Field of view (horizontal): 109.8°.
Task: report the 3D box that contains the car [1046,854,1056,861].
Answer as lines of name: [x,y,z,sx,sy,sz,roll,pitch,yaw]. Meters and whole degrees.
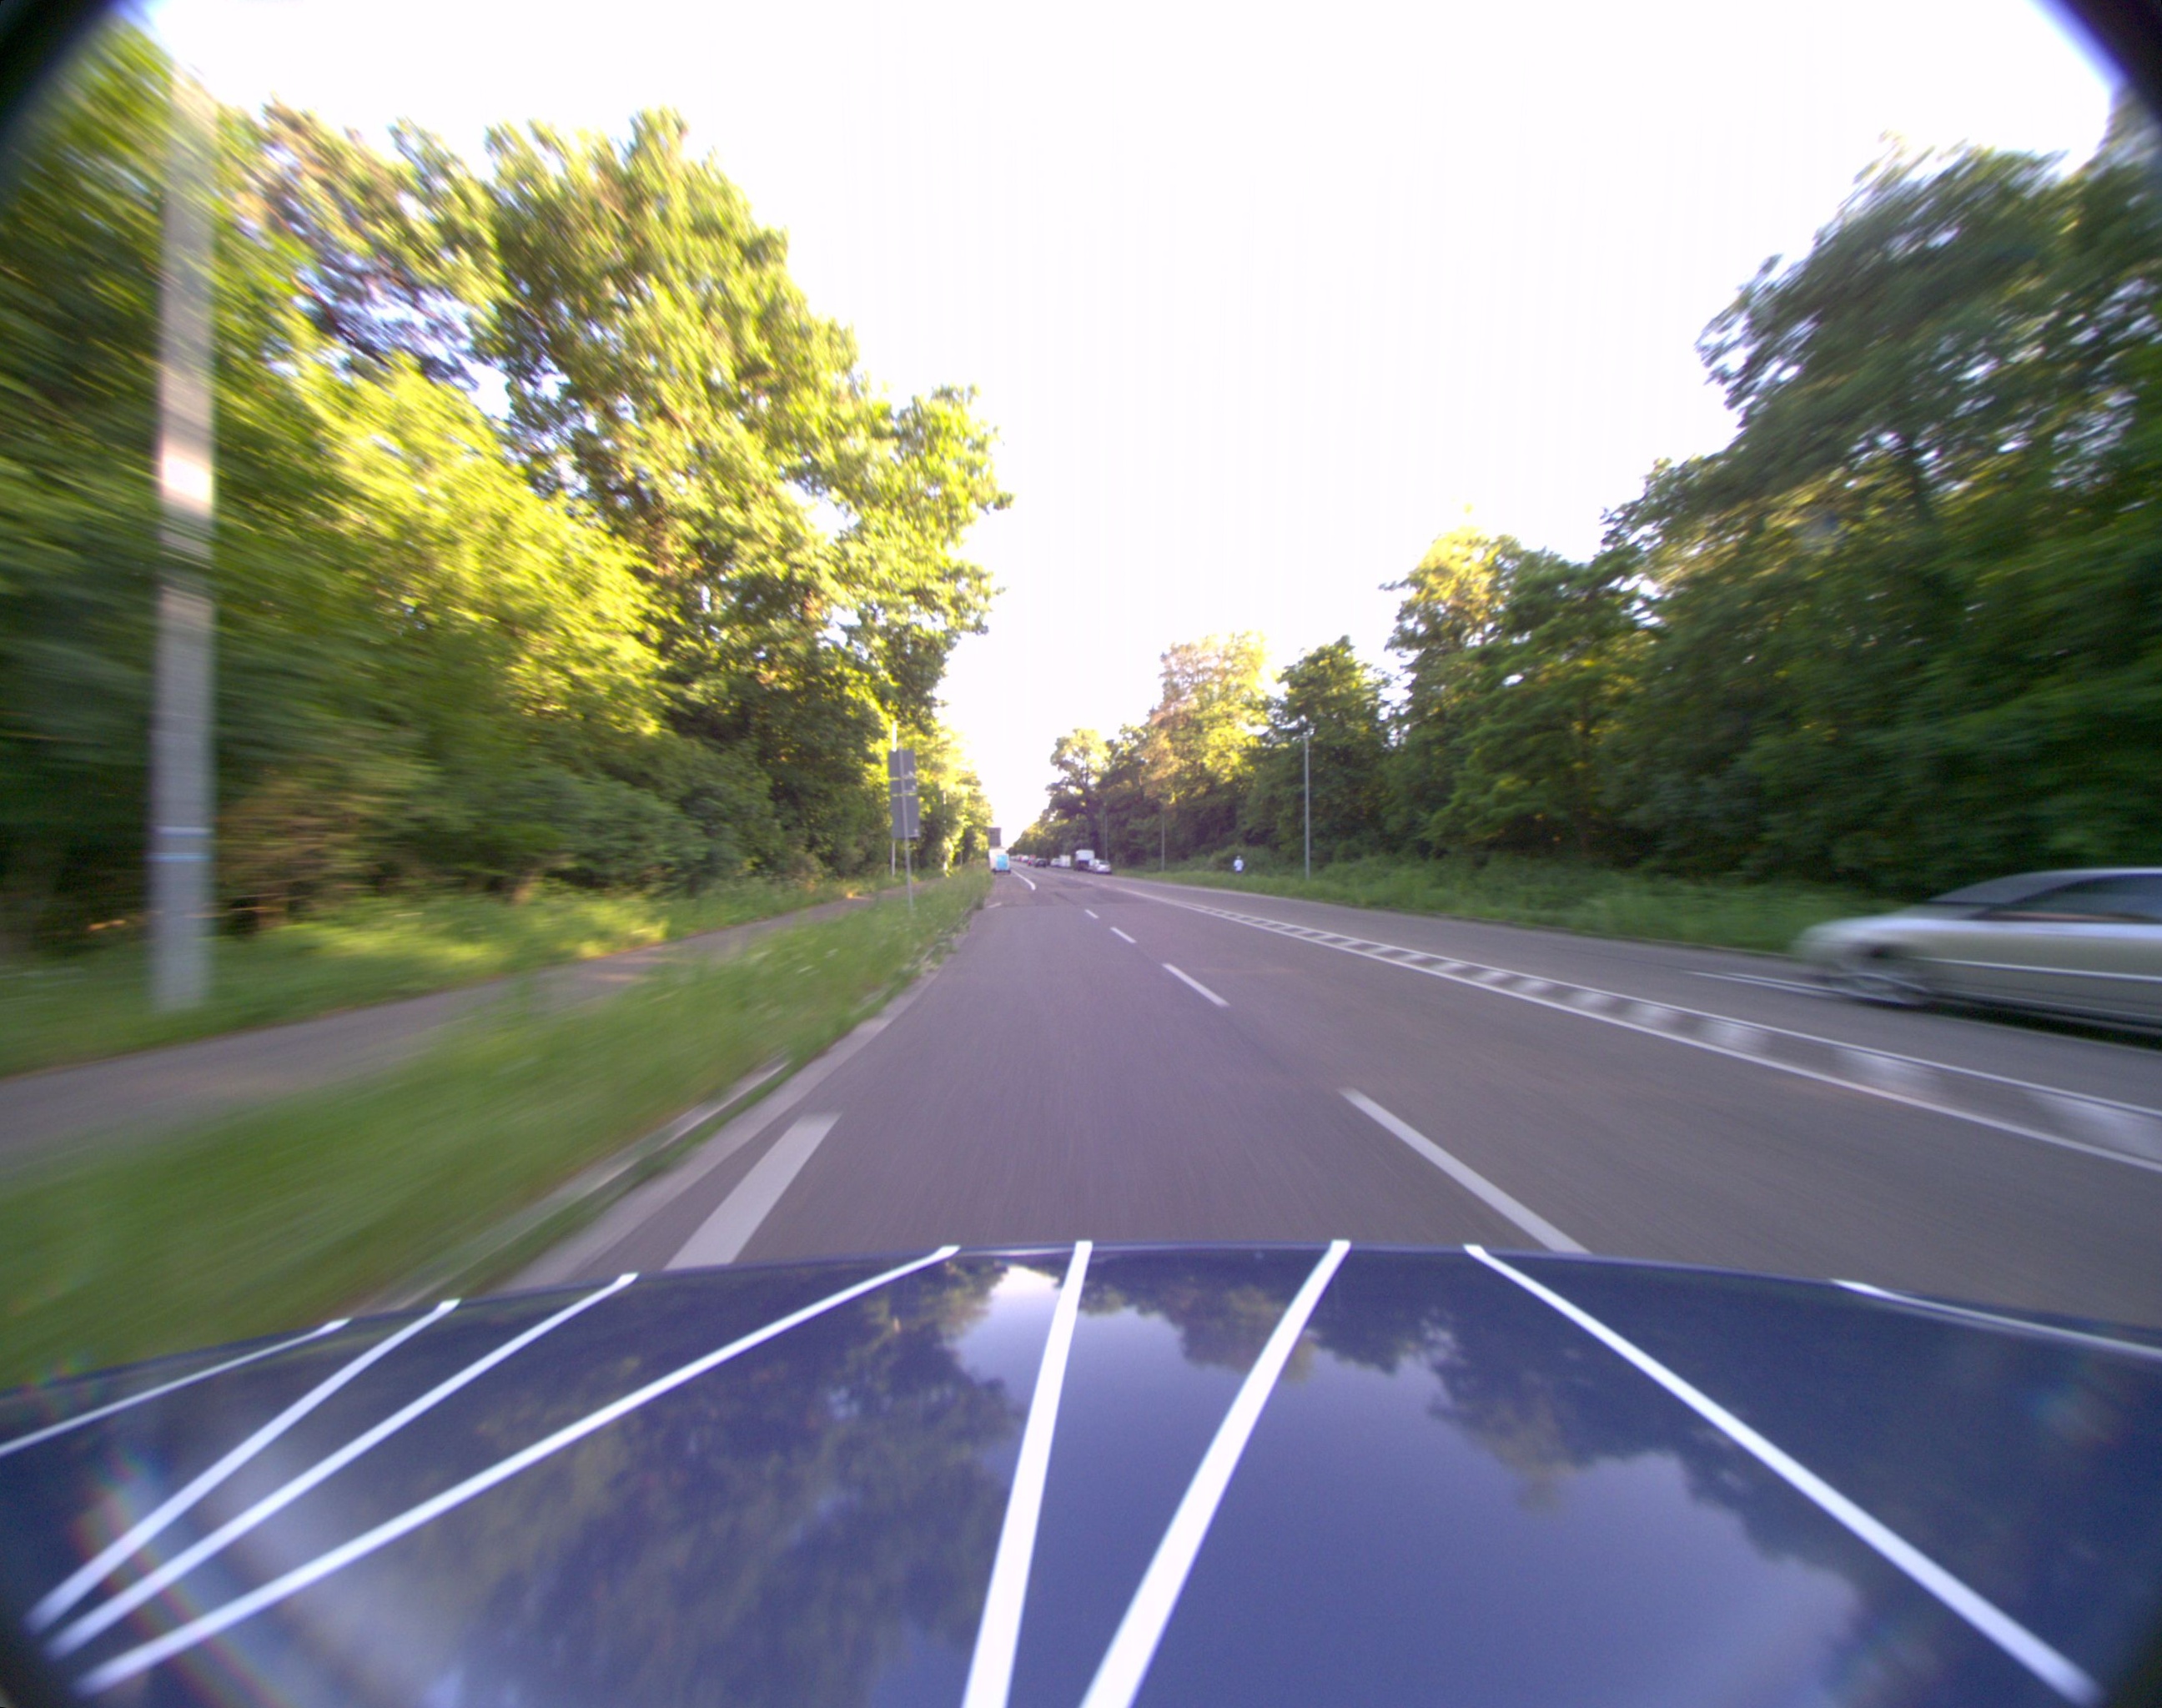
car: [-6.298,0.749,159.796,1.807,1.496,3.910,1,1,-7]

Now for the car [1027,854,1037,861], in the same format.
car: [-9.950,0.700,153.845,1.807,1.455,3.910,1,1,-7]

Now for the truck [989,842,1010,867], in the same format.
truck: [-11.260,0.053,104.808,2.707,3.218,7.123,1,1,-7]

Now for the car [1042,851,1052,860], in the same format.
car: [-7.604,0.396,170.924,2.000,2.002,3.997,-1,0,-7]

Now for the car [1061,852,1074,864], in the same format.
car: [-2.369,0.687,131.659,1.692,2.089,4.629,1,1,-7]

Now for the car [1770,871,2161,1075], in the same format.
car: [8.842,0.946,6.284,1.834,1.446,4.477,2,0,-8]

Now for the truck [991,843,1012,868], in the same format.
truck: [-9.919,0.141,94.664,2.391,2.855,5.594,-3,1,-7]

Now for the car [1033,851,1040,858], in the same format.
car: [-13.899,0.088,237.742,2.000,2.002,3.997,-1,0,-9]

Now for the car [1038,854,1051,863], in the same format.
car: [-6.121,0.707,127.143,1.915,1.455,4.354,1,1,-7]

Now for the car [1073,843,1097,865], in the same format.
car: [0.480,-0.008,99.978,2.462,2.830,4.795,1,1,-7]

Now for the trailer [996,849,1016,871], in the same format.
trailer: [-7.864,0.577,79.254,1.870,2.165,4.126,-2,1,-7]

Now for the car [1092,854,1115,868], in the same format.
car: [2.455,0.743,82.868,1.915,1.455,4.009,1,1,-7]

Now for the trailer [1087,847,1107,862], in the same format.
trailer: [1.843,0.059,87.950,1.807,1.719,3.645,1,1,-7]

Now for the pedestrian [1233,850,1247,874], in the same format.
pedestrian: [10.653,0.529,50.987,0.713,1.556,0.825,1,1,-4]

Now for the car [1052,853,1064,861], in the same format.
car: [-4.362,0.574,144.056,1.807,1.496,3.910,1,1,-7]
